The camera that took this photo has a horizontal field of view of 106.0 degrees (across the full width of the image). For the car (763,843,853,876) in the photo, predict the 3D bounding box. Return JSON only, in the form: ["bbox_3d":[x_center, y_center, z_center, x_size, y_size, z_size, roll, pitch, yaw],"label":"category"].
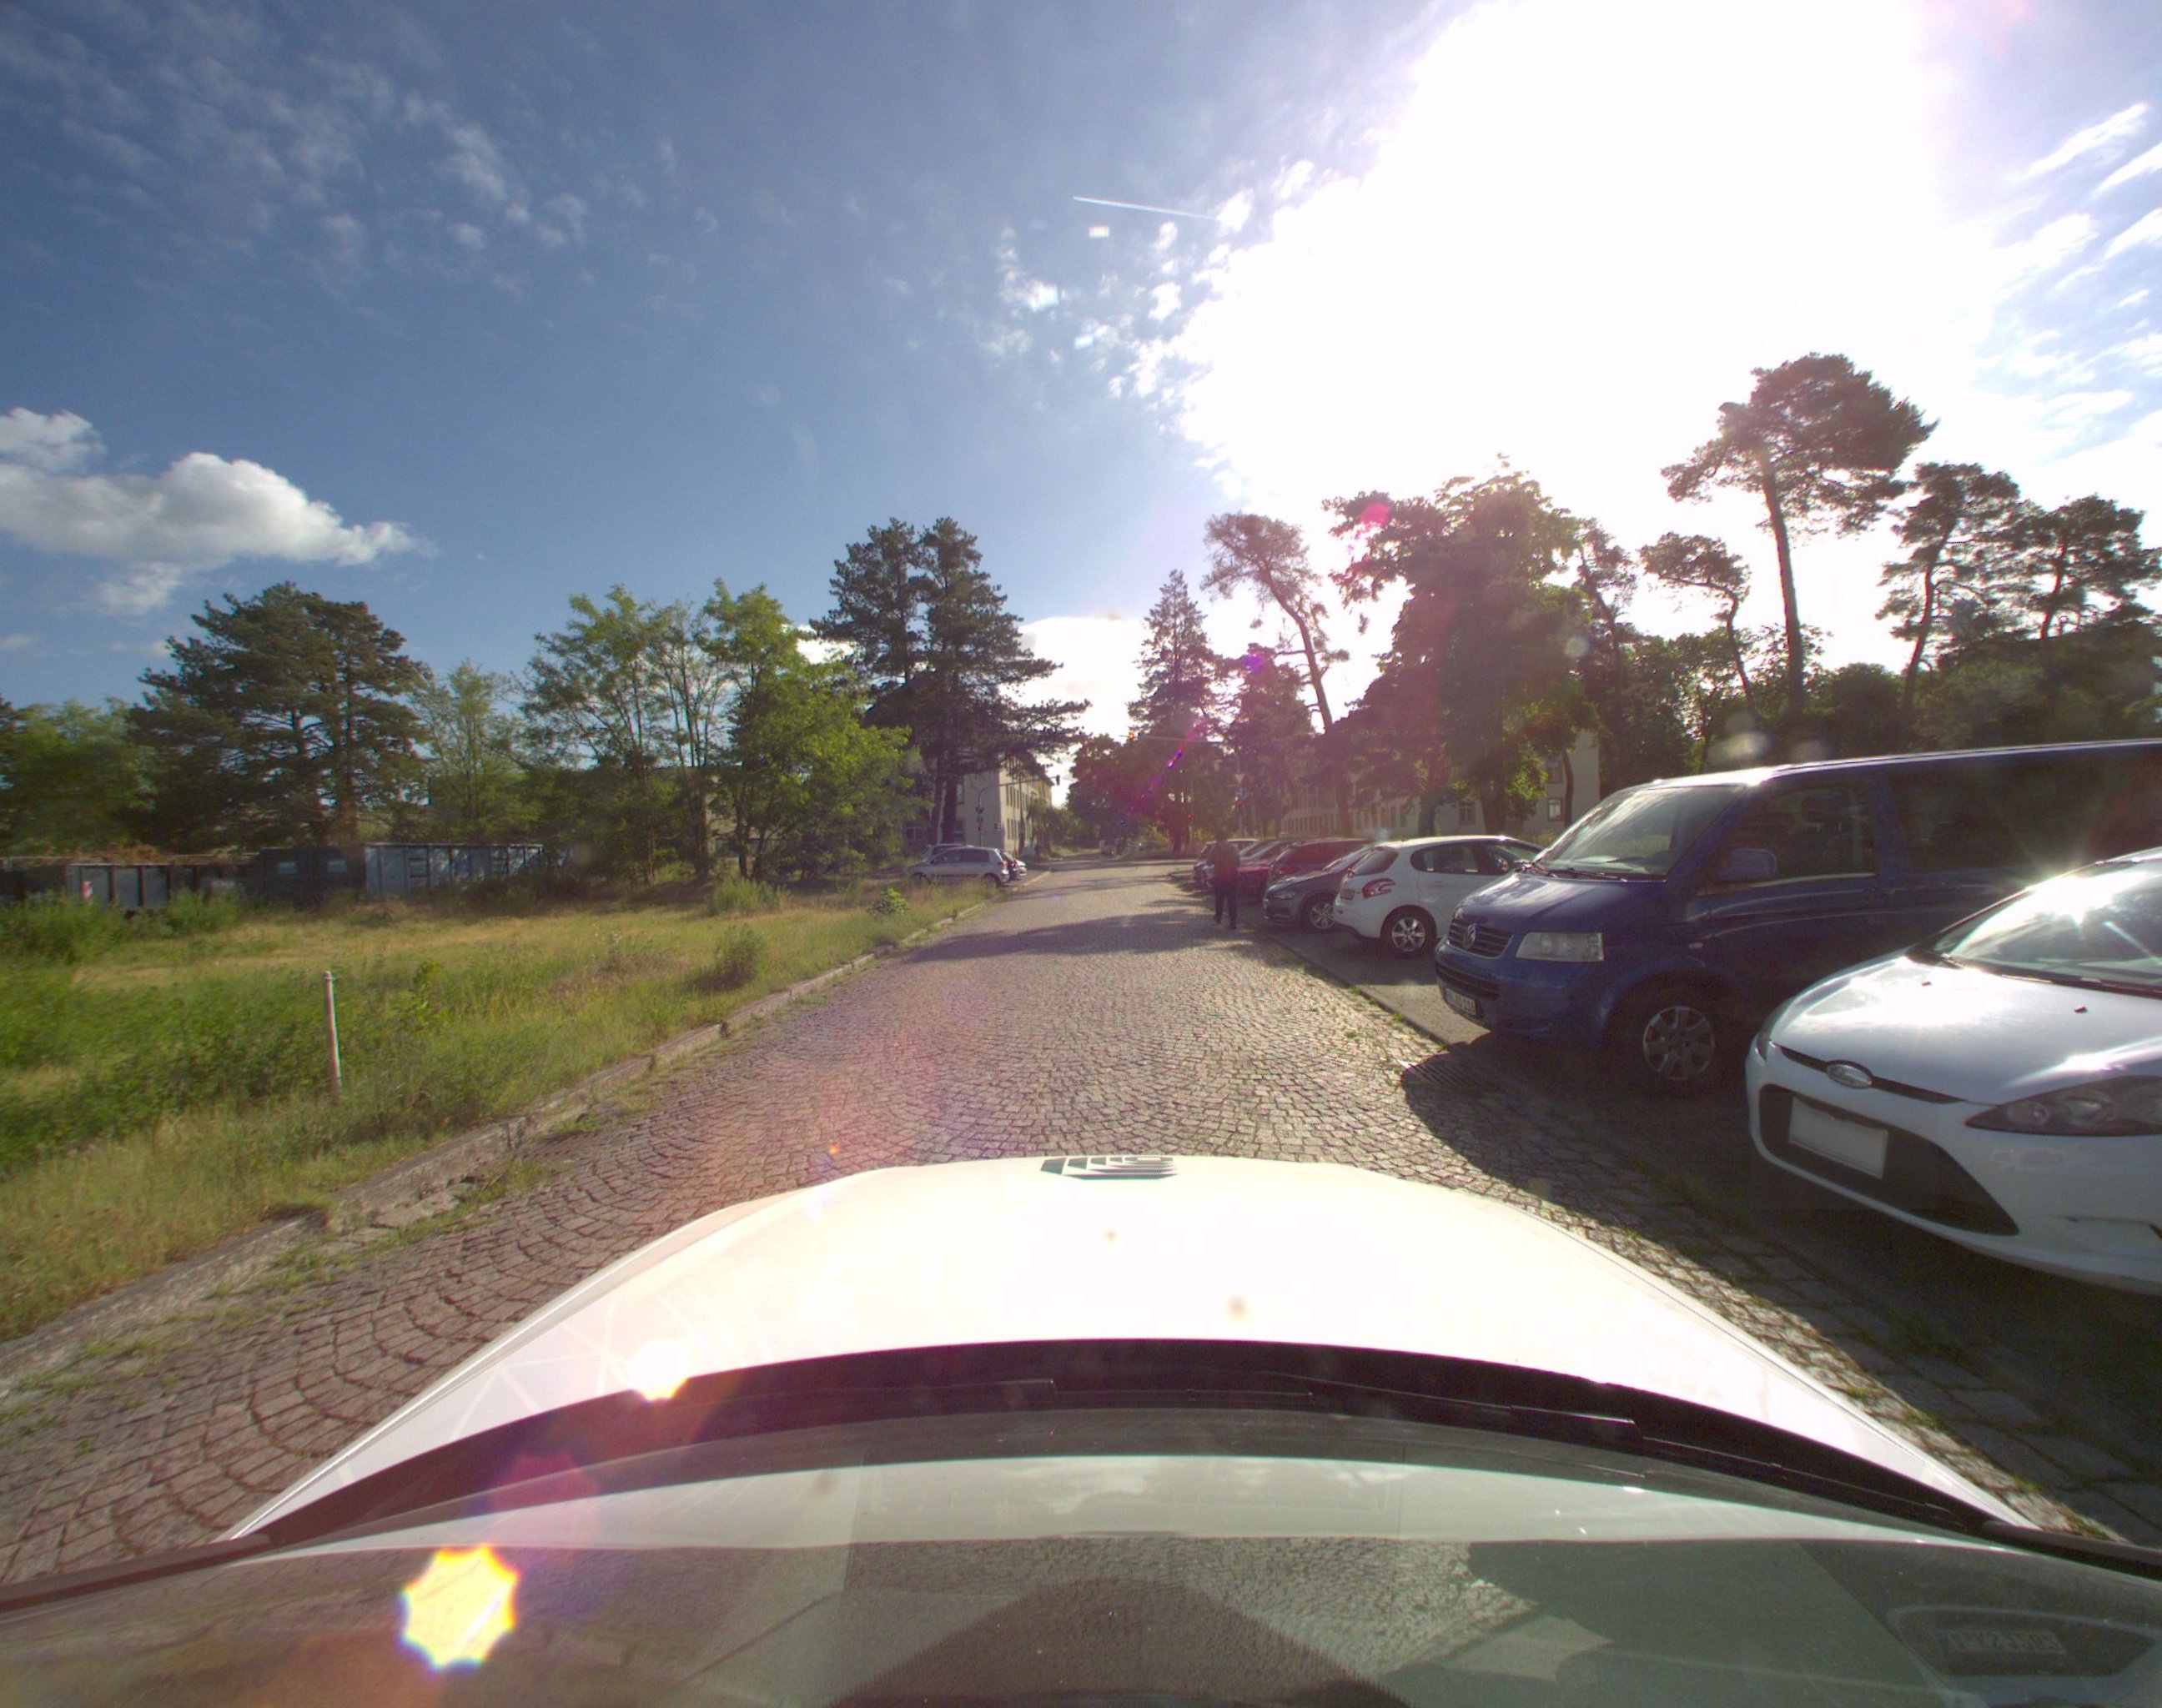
[{"bbox_3d":[-14.825,0.285,44.341,4.127,1.608,2.011,-2,1,3],"label":"car"}]

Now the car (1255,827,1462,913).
[{"bbox_3d":[5.602,0.299,16.754,3.649,1.454,1.667,-4,1,2],"label":"car"}]

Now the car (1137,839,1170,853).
[{"bbox_3d":[8.888,-1.041,100.060,3.738,1.580,1.738,-2,1,-6],"label":"car"}]

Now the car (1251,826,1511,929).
[{"bbox_3d":[4.960,0.366,13.873,3.765,1.450,1.759,-3,1,3],"label":"car"}]

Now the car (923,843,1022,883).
[{"bbox_3d":[-4.479,0.352,34.076,3.866,1.615,1.661,0,1,0],"label":"car"}]

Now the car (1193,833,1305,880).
[{"bbox_3d":[5.990,0.078,29.311,3.659,1.443,1.666,-4,1,2],"label":"car"}]

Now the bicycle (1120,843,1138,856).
[{"bbox_3d":[4.683,-0.422,79.561,1.722,1.164,0.561,-2,0,-2],"label":"bicycle"}]

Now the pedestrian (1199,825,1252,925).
[{"bbox_3d":[2.580,0.361,14.615,0.750,1.725,0.829,3,1,1],"label":"pedestrian"}]

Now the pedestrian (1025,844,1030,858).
[{"bbox_3d":[-6.088,-0.369,92.610,0.606,1.559,0.544,-1,1,-5],"label":"pedestrian"}]

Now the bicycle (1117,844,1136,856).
[{"bbox_3d":[4.424,-0.368,78.887,1.722,1.112,0.484,-2,0,-2],"label":"bicycle"}]

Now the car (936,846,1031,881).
[{"bbox_3d":[-4.369,0.395,36.807,3.966,1.496,1.776,0,1,6],"label":"car"}]

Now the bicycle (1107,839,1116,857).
[{"bbox_3d":[2.789,-0.593,75.141,0.750,1.580,2.538,-2,1,2],"label":"bicycle"}]

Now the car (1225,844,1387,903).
[{"bbox_3d":[5.259,0.443,19.337,3.447,1.242,1.537,-2,1,2],"label":"car"}]

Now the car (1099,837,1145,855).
[{"bbox_3d":[4.821,-0.999,96.257,5.063,1.918,1.995,-2,1,-8],"label":"car"}]

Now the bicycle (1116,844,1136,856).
[{"bbox_3d":[4.336,-0.359,78.344,1.829,1.112,0.495,-2,0,-2],"label":"bicycle"}]

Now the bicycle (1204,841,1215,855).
[{"bbox_3d":[10.472,-0.499,66.268,0.717,1.115,2.592,-2,1,12],"label":"bicycle"}]

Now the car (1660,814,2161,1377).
[{"bbox_3d":[4.621,0.589,3.071,3.708,1.466,1.610,-3,1,-1],"label":"car"}]

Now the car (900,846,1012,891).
[{"bbox_3d":[-4.367,0.493,28.747,3.674,1.527,1.699,0,1,-1],"label":"car"}]

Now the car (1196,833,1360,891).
[{"bbox_3d":[5.717,0.206,24.000,4.384,1.388,1.789,-3,1,0],"label":"car"}]

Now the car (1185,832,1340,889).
[{"bbox_3d":[5.890,0.183,26.775,4.605,1.455,1.870,-4,1,-1],"label":"car"}]

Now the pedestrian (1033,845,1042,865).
[{"bbox_3d":[-3.782,0.105,71.423,0.608,1.752,0.627,-2,1,-15],"label":"pedestrian"}]

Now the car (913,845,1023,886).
[{"bbox_3d":[-4.305,0.432,31.411,3.924,1.445,1.691,1,1,0],"label":"car"}]

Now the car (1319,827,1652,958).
[{"bbox_3d":[5.248,0.468,10.931,3.630,1.492,1.635,-2,1,2],"label":"car"}]

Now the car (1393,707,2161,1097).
[{"bbox_3d":[4.965,0.239,5.687,4.735,2.013,2.001,-4,1,2],"label":"car"}]

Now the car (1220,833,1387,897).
[{"bbox_3d":[5.843,0.267,21.712,3.965,1.448,1.656,-3,1,1],"label":"car"}]
